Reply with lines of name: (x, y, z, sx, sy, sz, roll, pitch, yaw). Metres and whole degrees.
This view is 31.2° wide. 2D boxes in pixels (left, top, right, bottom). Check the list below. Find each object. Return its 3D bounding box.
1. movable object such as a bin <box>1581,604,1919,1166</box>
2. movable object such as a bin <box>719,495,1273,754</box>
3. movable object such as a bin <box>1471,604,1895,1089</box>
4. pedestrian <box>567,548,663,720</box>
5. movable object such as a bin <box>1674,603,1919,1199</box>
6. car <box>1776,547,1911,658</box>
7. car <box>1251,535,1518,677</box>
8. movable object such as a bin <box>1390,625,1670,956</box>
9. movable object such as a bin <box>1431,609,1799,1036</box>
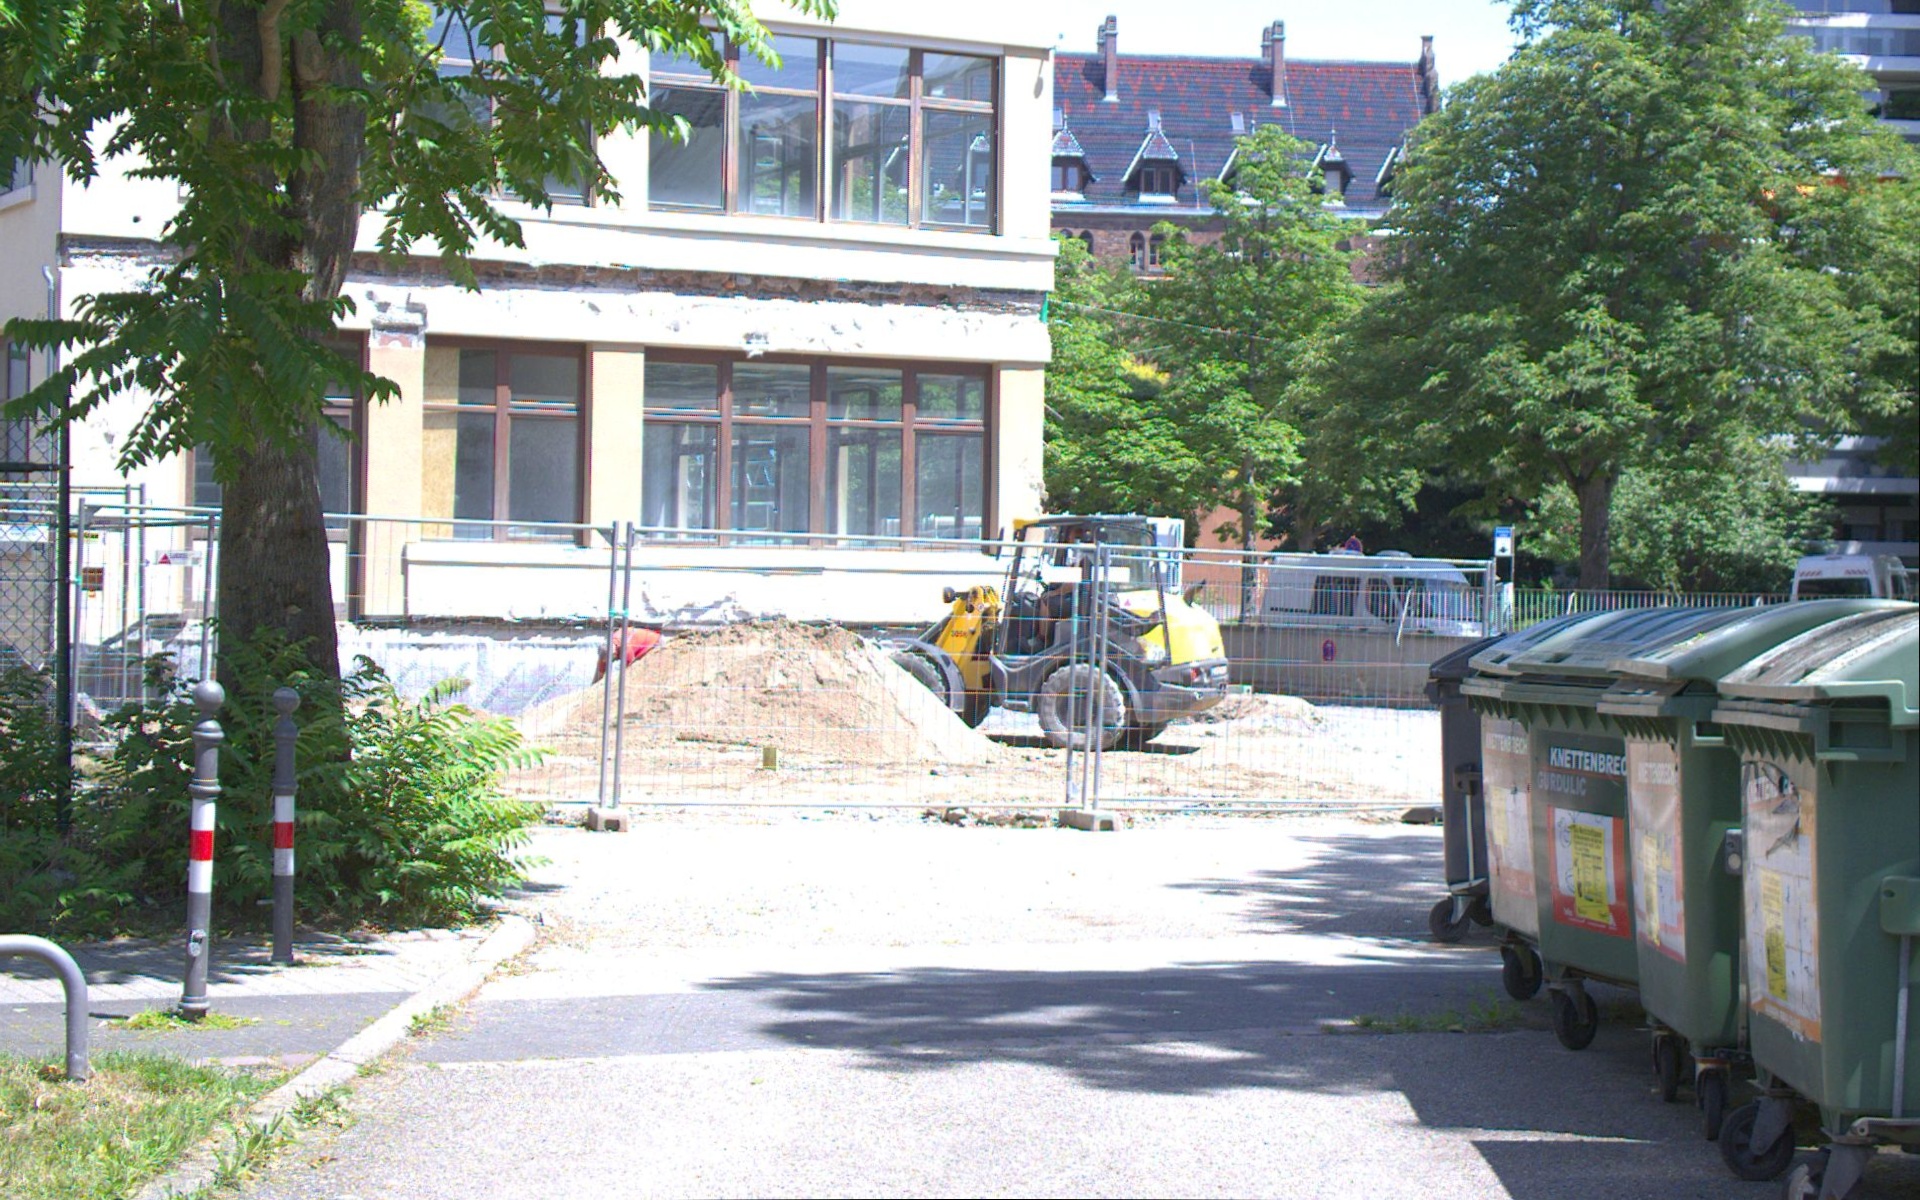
movable object such as a bin: (2.408, 0.748, 9.653, 1.075, 1.453, 1.377, 1, 0, 1)
movable object such as a bin: (0.372, 0.225, 37.225, 5.411, 2.456, 2.364, 3, 1, 27)
movable object such as a bin: (2.297, 0.750, 11.126, 1.075, 1.453, 1.377, 1, 0, 1)
pedestrian: (-3.757, 0.369, 37.514, 0.914, 1.840, 0.986, 1, 0, 1)
movable object such as a bin: (2.390, 0.744, 8.210, 1.075, 1.453, 1.377, 1, 0, 1)
car: (18.847, 0.065, 73.192, 2.187, 2.250, 4.863, 1, 0, 22)
car: (7.500, 0.100, 61.284, 1.993, 2.408, 5.244, 1, 0, -29)
movable object such as a bin: (2.635, 0.856, 16.053, 1.075, 1.453, 1.377, 1, 0, 1)
movable object such as a bin: (2.352, 0.769, 12.548, 1.075, 1.453, 1.377, 1, 0, 1)
